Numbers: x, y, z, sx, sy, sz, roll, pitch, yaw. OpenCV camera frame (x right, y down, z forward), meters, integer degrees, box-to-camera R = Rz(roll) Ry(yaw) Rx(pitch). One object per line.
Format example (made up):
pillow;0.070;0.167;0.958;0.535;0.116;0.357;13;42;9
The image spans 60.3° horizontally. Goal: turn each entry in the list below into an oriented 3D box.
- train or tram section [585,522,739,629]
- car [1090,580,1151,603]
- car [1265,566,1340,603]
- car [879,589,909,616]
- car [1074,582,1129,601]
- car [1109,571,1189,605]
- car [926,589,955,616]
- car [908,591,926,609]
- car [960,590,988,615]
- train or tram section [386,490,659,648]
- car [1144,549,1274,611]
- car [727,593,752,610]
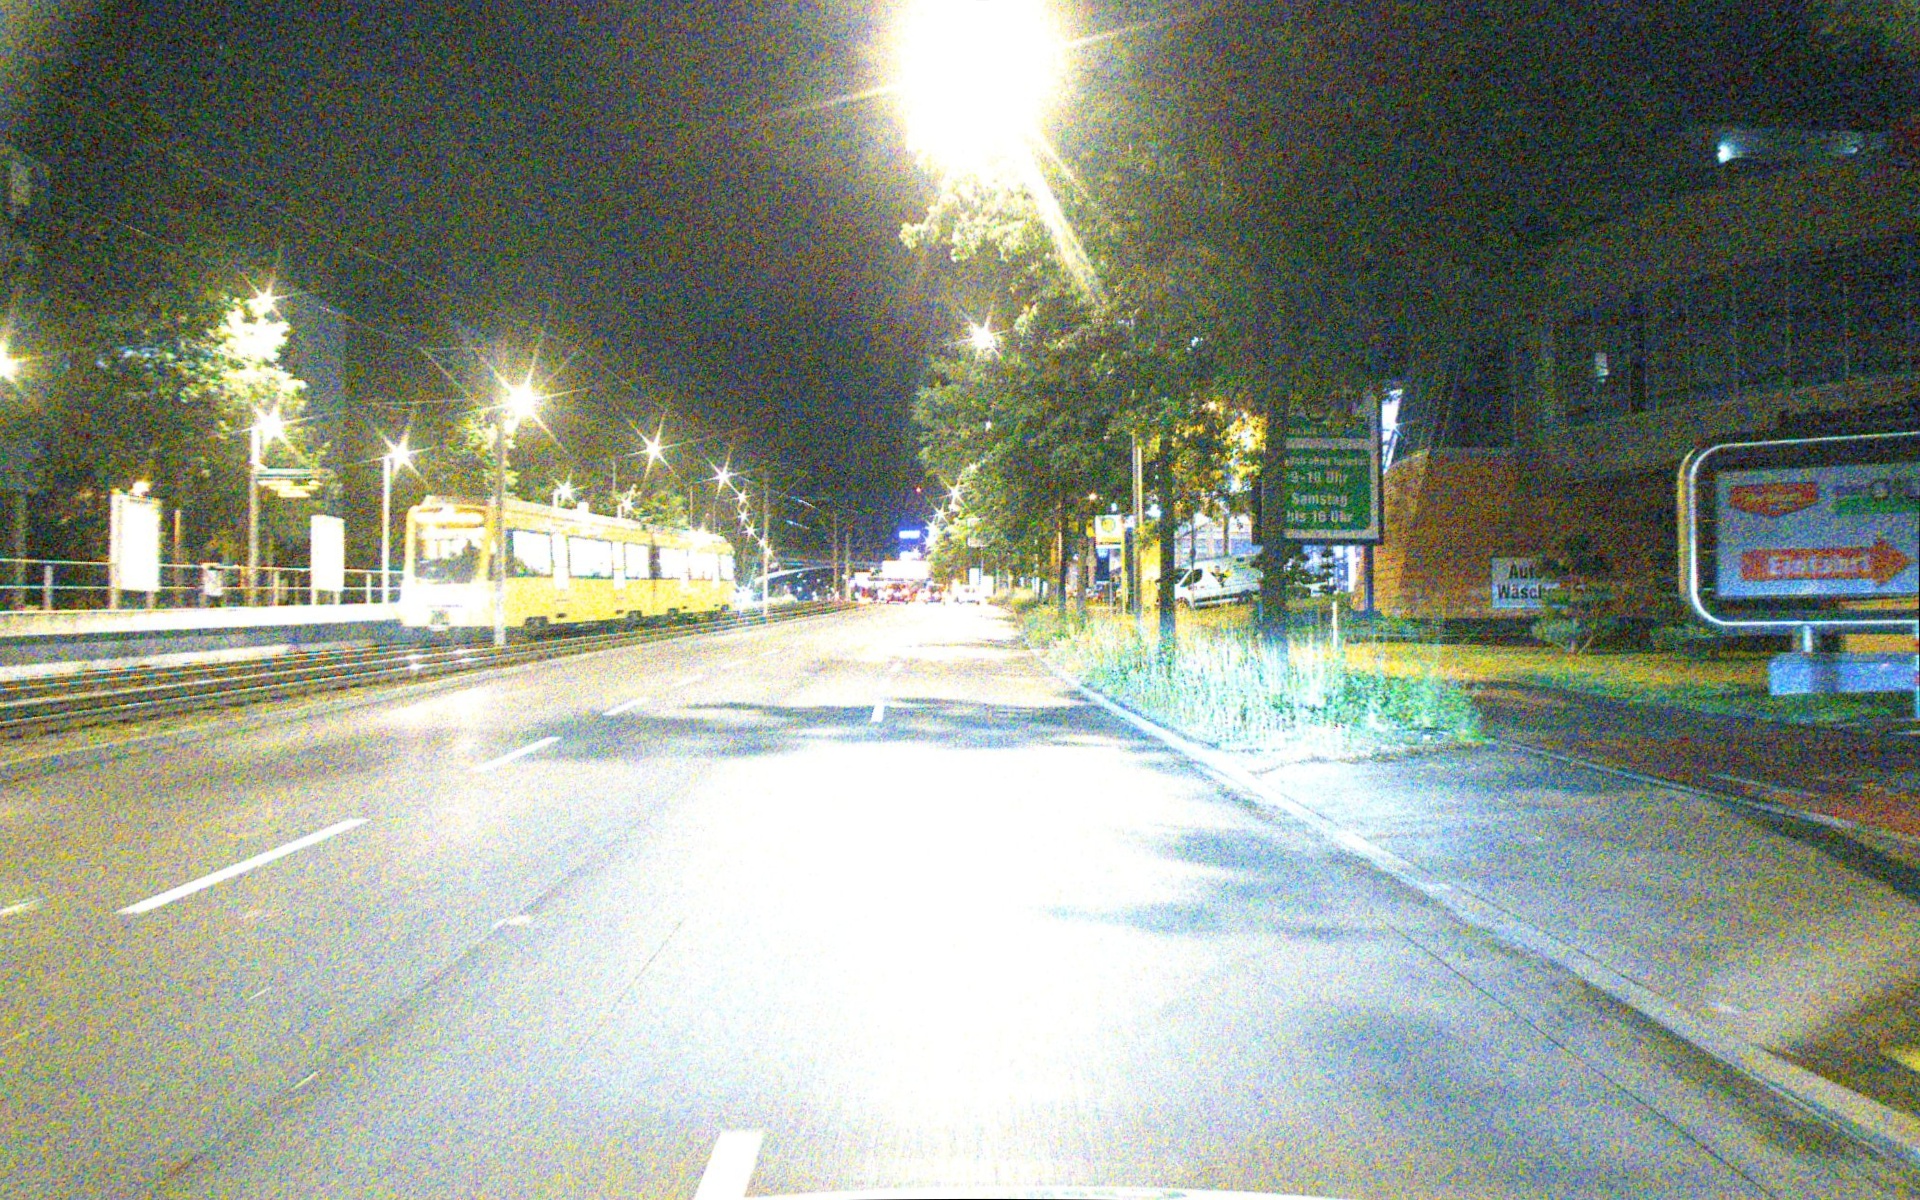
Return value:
train or tram section;-12.132;-0.937;69.663;2.701;3.894;18.673;0;0;1
car;11.427;-0.601;117.835;3.959;1.397;1.818;-4;1;-16
car;17.289;-0.754;83.616;1.780;1.742;3.941;-2;0;-22
car;-5.242;0.206;131.829;2.216;2.049;4.825;0;0;-1
car;11.247;-0.703;131.398;3.925;1.448;1.900;0;1;-18
car;11.524;-0.714;101.066;4.382;1.716;1.995;-5;1;-11
car;-1.595;0.202;136.563;2.308;2.166;4.825;0;0;-1
car;-4.598;0.000;177.553;1.848;1.892;4.000;0;0;0
car;1.208;0.187;145.338;2.378;2.150;4.825;1;0;-1
train or tram section;-12.599;-0.818;50.623;2.681;3.913;19.368;0;0;2
car;12.551;-0.995;83.353;5.923;2.572;2.273;-5;1;-17
car;-19.950;0.129;149.474;1.626;1.543;3.911;0;0;2
